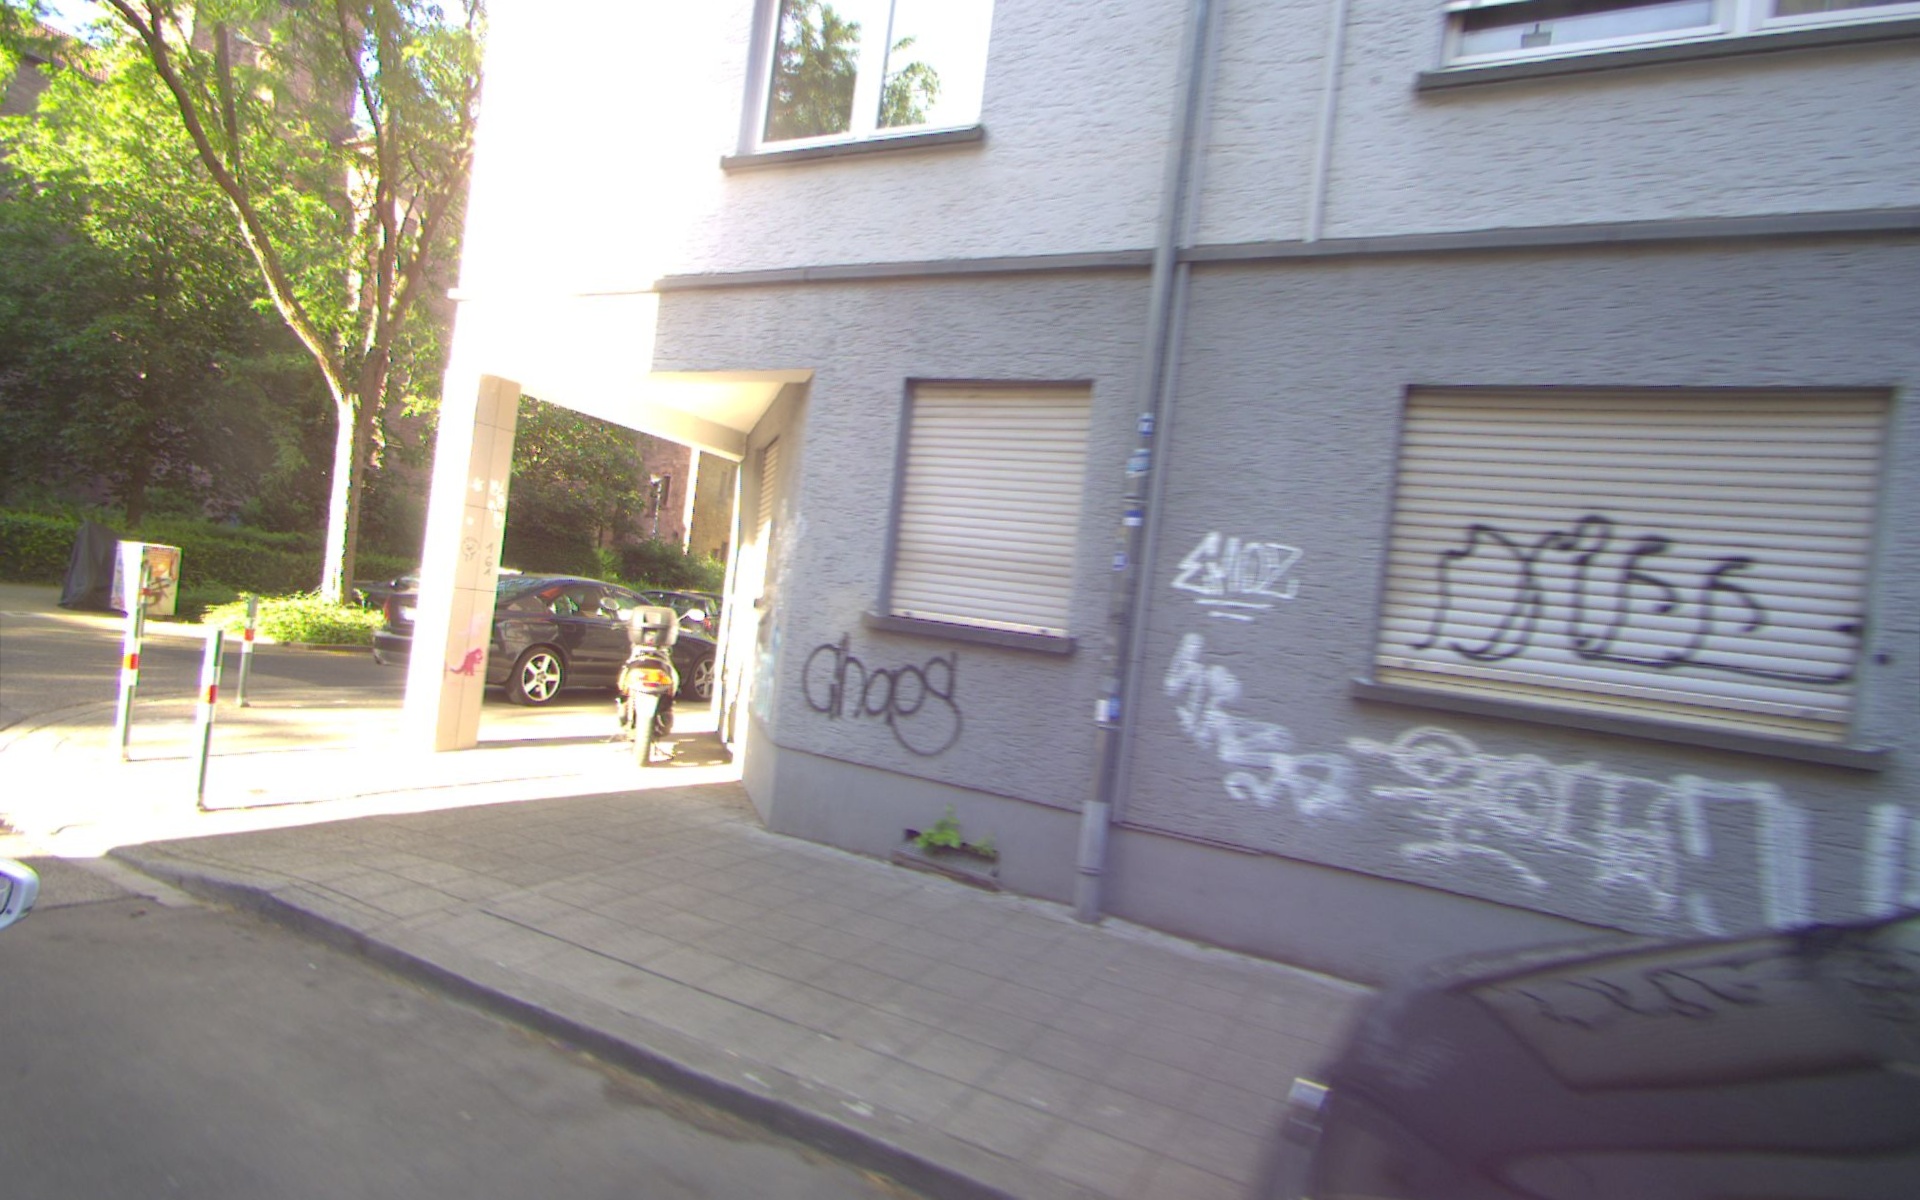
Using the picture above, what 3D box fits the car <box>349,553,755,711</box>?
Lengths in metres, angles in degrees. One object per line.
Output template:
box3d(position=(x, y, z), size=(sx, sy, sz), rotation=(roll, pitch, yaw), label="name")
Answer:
box3d(position=(-4.594, 0.457, 12.125), size=(1.817, 1.404, 4.360), rotation=(6, -2, 25), label="car")

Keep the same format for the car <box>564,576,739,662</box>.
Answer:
box3d(position=(-7.723, 0.485, 25.342), size=(3.698, 1.637, 1.723), rotation=(7, -1, 8), label="car")

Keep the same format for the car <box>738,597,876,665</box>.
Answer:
box3d(position=(-4.547, 0.934, 30.245), size=(3.699, 1.538, 1.723), rotation=(7, -1, 3), label="car")

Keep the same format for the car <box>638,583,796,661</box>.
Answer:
box3d(position=(-6.642, 0.626, 27.711), size=(3.698, 1.637, 1.723), rotation=(7, -1, 8), label="car")

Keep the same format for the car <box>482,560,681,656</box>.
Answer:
box3d(position=(-8.510, 0.202, 22.794), size=(3.698, 1.637, 1.723), rotation=(7, -1, 8), label="car")

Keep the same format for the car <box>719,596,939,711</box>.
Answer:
box3d(position=(-2.117, 0.968, 17.439), size=(1.837, 1.636, 3.999), rotation=(4, -3, 25), label="car")

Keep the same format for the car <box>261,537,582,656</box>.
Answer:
box3d(position=(-10.215, -0.036, 19.435), size=(5.013, 1.570, 1.802), rotation=(7, -1, -7), label="car")

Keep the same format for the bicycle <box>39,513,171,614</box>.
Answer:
box3d(position=(-13.368, -0.564, 15.815), size=(0.766, 1.387, 2.115), rotation=(7, 0, -20), label="bicycle")

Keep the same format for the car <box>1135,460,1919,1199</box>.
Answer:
box3d(position=(2.488, 0.970, 0.875), size=(4.313, 1.659, 1.906), rotation=(6, -1, 26), label="car")

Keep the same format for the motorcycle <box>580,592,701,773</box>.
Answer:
box3d(position=(-2.567, 0.613, 8.235), size=(0.732, 1.242, 2.152), rotation=(5, -2, -15), label="motorcycle")
